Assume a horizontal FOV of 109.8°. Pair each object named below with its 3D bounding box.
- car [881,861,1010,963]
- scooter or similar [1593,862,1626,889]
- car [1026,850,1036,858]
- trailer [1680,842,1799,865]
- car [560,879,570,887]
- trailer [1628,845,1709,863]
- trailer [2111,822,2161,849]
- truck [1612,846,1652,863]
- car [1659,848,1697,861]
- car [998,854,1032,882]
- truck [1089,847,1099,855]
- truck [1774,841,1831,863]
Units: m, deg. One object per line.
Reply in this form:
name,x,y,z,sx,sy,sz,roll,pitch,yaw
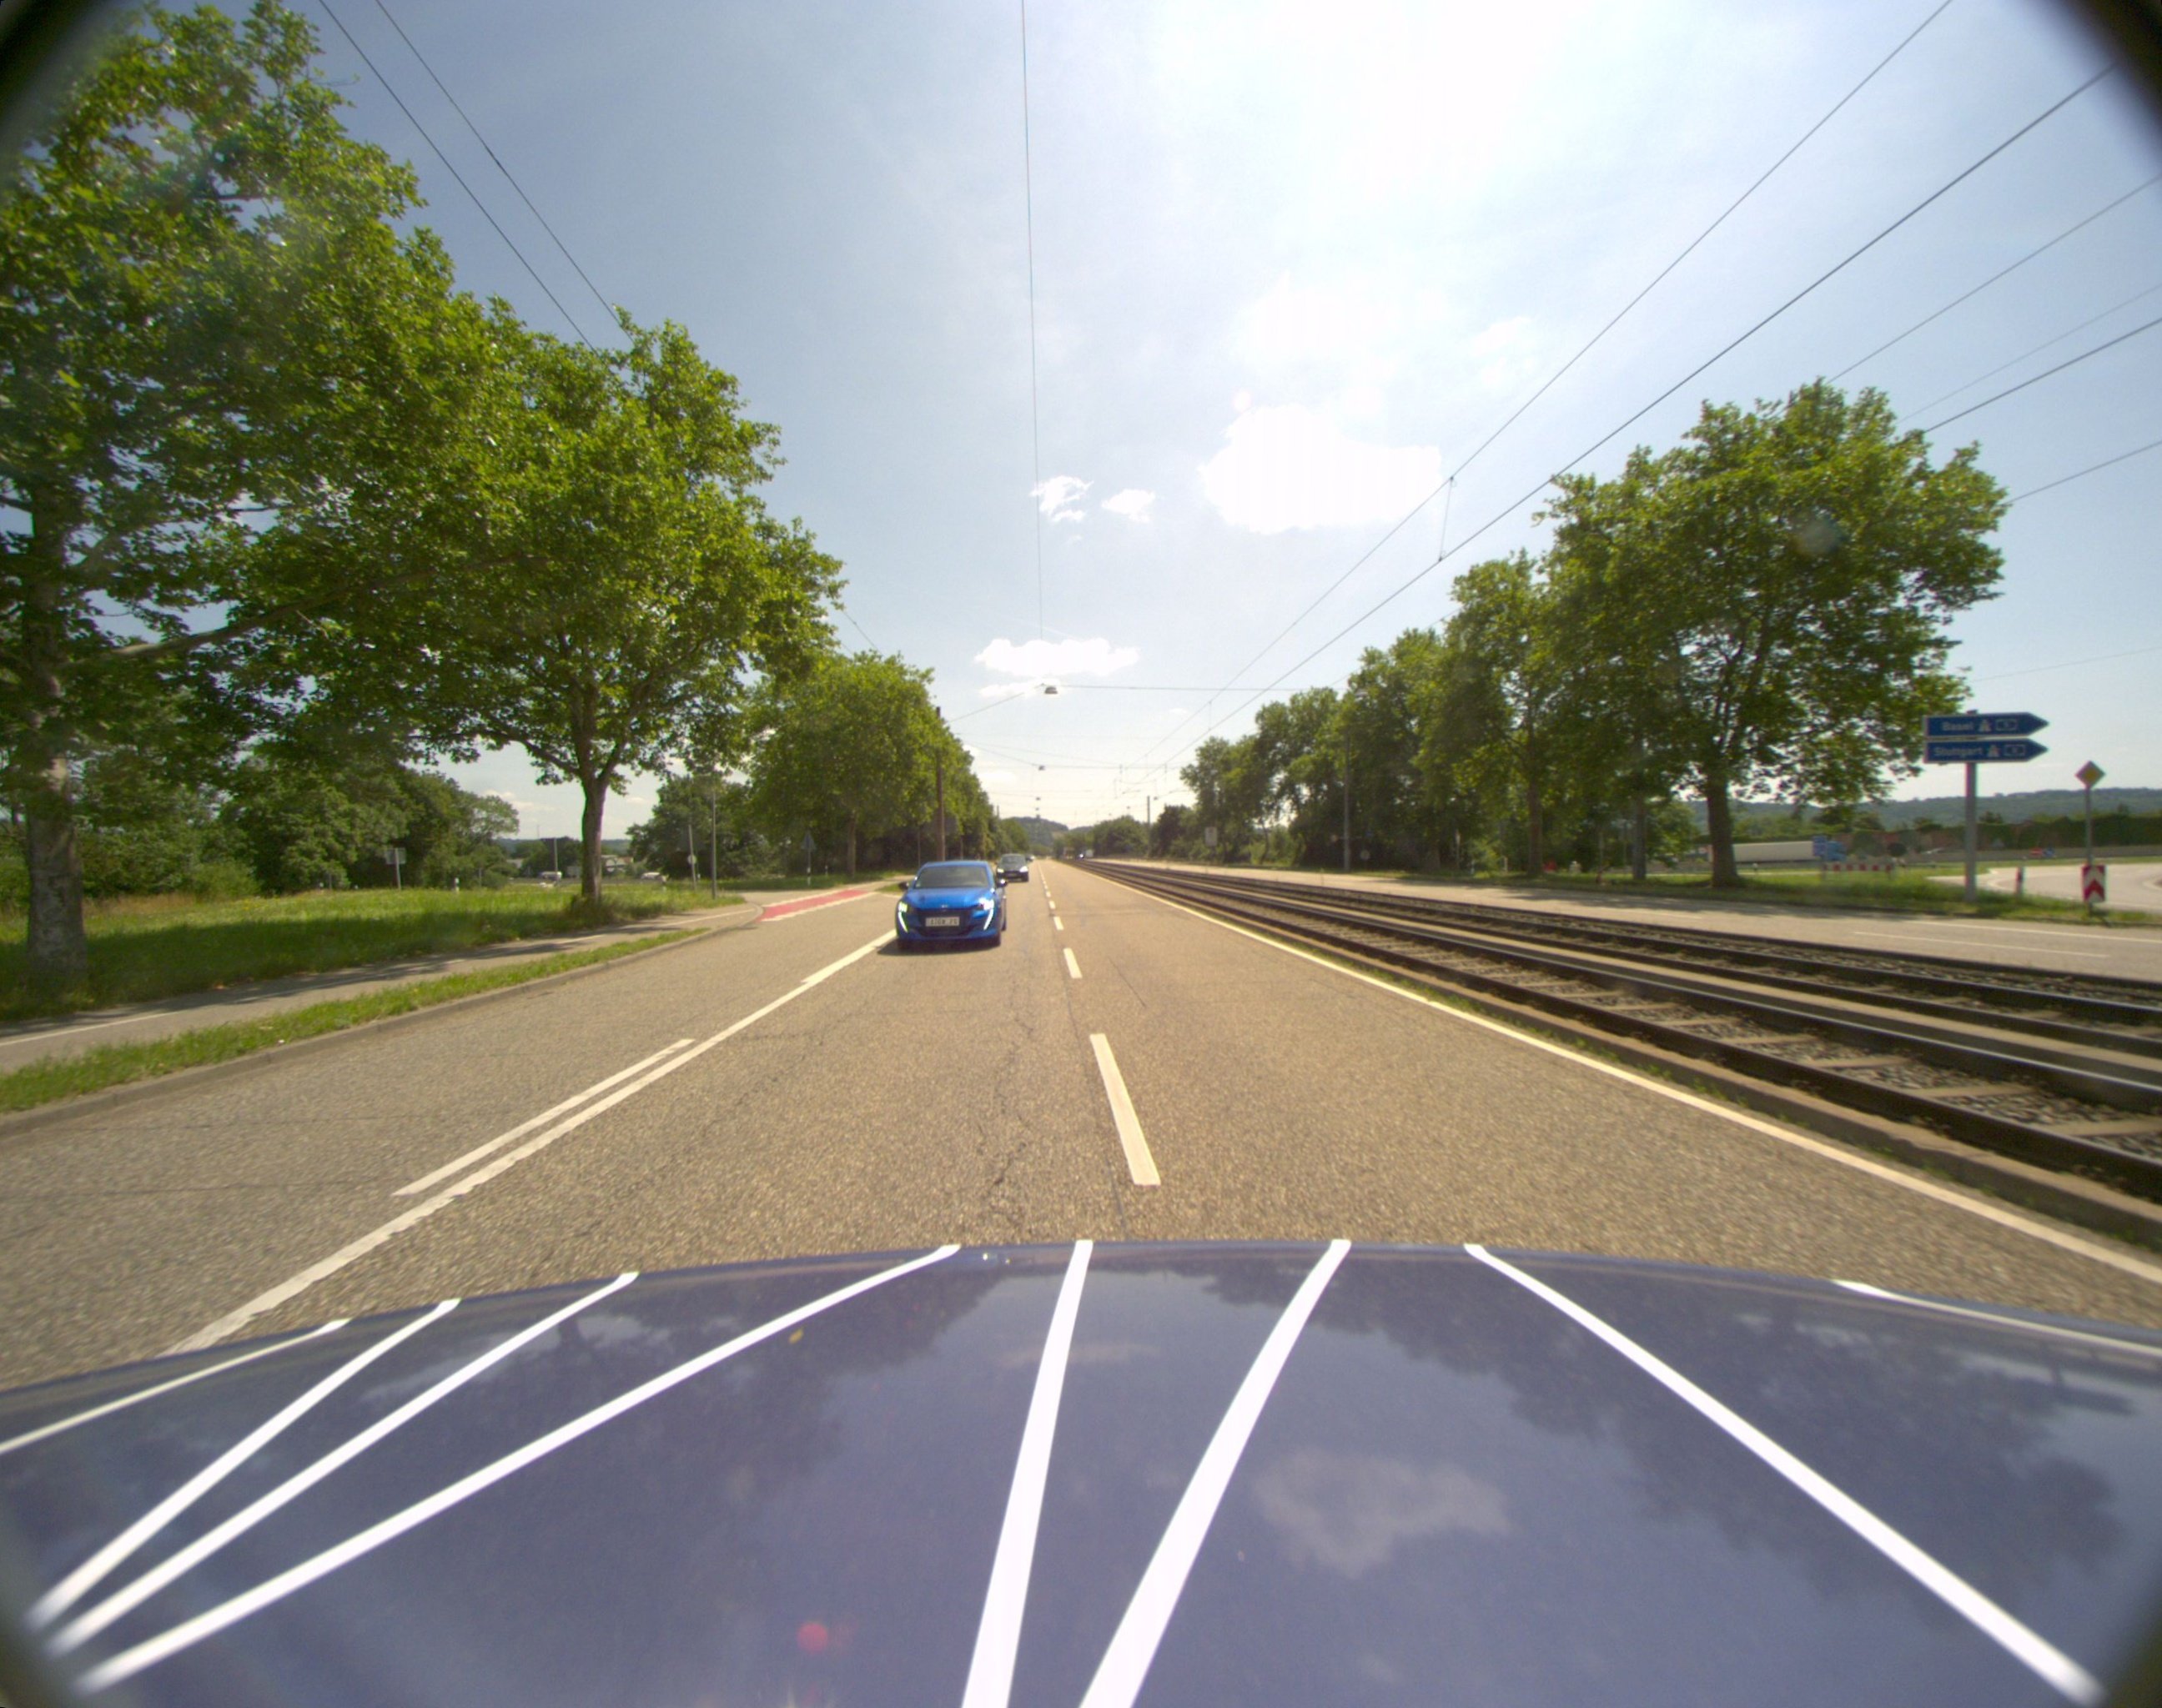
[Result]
car,-2.291,0.920,13.979,1.772,1.463,4.465,-2,0,-3
scooter or similar,22.672,0.914,32.625,0.462,1.144,1.234,-2,1,-5
car,-9.598,0.051,145.223,1.772,1.422,3.998,-1,0,-3
trailer,110.774,-0.062,128.273,14.785,3.407,3.141,-2,0,27
car,-137.537,7.758,202.538,2.003,2.002,4.552,-1,1,-31
trailer,116.595,0.062,151.000,12.347,3.420,3.344,0,1,27
trailer,170.144,-3.007,117.887,12.183,4.132,3.141,-2,0,24
truck,111.341,0.145,153.700,6.125,3.362,3.336,0,1,27
car,115.649,0.130,147.261,5.557,2.491,2.226,0,1,27
car,-3.665,0.741,42.775,1.772,1.422,3.998,-2,0,-3
truck,3.874,-0.928,231.594,2.333,2.566,6.618,-1,0,-5
truck,118.067,-0.289,124.460,5.997,3.407,3.141,-2,0,27
